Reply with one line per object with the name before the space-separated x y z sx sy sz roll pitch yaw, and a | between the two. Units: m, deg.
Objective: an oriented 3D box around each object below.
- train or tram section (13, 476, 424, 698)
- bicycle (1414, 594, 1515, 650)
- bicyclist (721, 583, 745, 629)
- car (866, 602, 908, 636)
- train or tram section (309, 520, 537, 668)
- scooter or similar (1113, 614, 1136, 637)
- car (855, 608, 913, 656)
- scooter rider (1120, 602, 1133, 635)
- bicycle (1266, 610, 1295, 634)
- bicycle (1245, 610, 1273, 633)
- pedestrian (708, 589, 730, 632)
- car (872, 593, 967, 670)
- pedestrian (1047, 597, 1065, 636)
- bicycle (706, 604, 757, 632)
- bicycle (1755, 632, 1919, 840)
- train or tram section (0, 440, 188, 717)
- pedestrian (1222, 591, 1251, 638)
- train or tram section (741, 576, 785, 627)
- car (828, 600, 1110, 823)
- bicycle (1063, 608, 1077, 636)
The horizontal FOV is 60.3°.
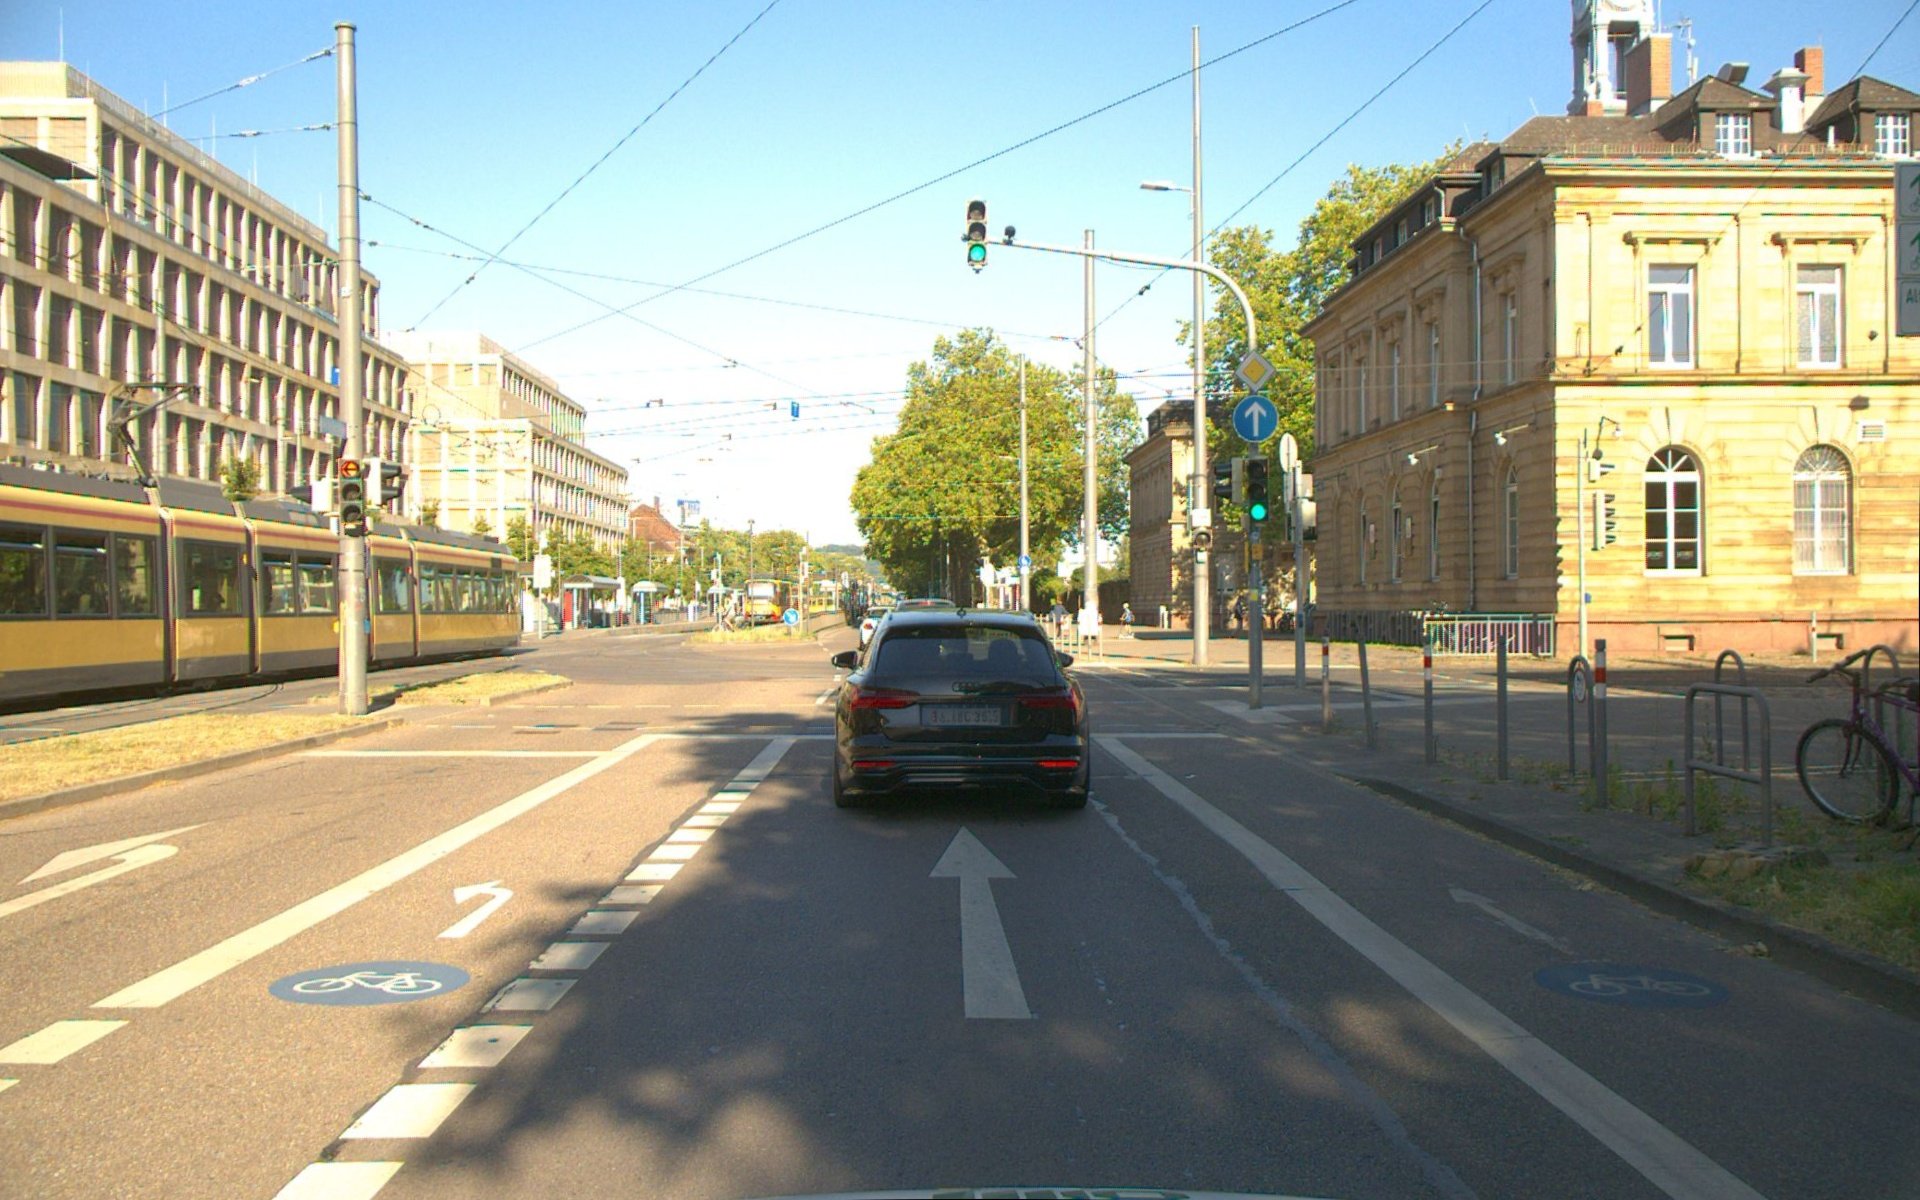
train or tram section | -14.123 -0.198 33.346 2.756 3.550 13.197 -1 0 -2
bicycle | 11.832 0.512 38.832 2.095 1.230 0.765 -2 0 -4
bicyclist | -9.370 0.251 68.267 0.747 1.850 0.758 -1 0 -25
car | -3.380 0.857 76.864 1.864 1.512 4.143 0 0 -2
train or tram section | -14.535 -0.136 46.051 2.756 3.550 12.148 -1 0 -2
scooter or similar | 7.144 1.112 71.664 0.920 0.983 0.361 -2 -1 -5
car | -2.520 1.043 55.667 1.864 1.512 4.143 0 0 -2
scooter rider | 7.212 0.790 71.665 0.475 1.410 0.377 -2 -1 -4
bicycle | 15.057 1.023 77.649 0.516 1.065 2.353 -1 0 -10
bicycle | 14.013 1.007 77.625 0.516 1.065 2.353 -1 0 -10
pedestrian | -10.164 0.435 69.651 0.731 1.772 0.658 -1 0 -26
car | -0.851 0.610 34.721 1.864 1.512 4.143 0 0 -2
pedestrian | 4.198 0.720 72.114 0.668 1.690 0.758 -1 0 -4
bicycle | -9.424 0.744 68.200 1.980 1.127 0.758 -1 0 -26
bicycle | 5.331 0.744 9.496 0.529 1.080 1.769 -1 0 -6
train or tram section | -13.662 -0.264 20.126 2.756 3.550 13.197 -1 0 -2
pedestrian | 11.466 0.598 68.687 0.961 1.898 0.825 -1 0 -9
train or tram section | -14.274 0.087 120.684 2.557 3.511 11.123 -1 0 -4
car | 0.004 0.742 13.018 1.864 1.446 4.143 0 0 -2
bicycle | 4.810 0.956 72.164 0.426 1.165 1.339 -1 0 -4
